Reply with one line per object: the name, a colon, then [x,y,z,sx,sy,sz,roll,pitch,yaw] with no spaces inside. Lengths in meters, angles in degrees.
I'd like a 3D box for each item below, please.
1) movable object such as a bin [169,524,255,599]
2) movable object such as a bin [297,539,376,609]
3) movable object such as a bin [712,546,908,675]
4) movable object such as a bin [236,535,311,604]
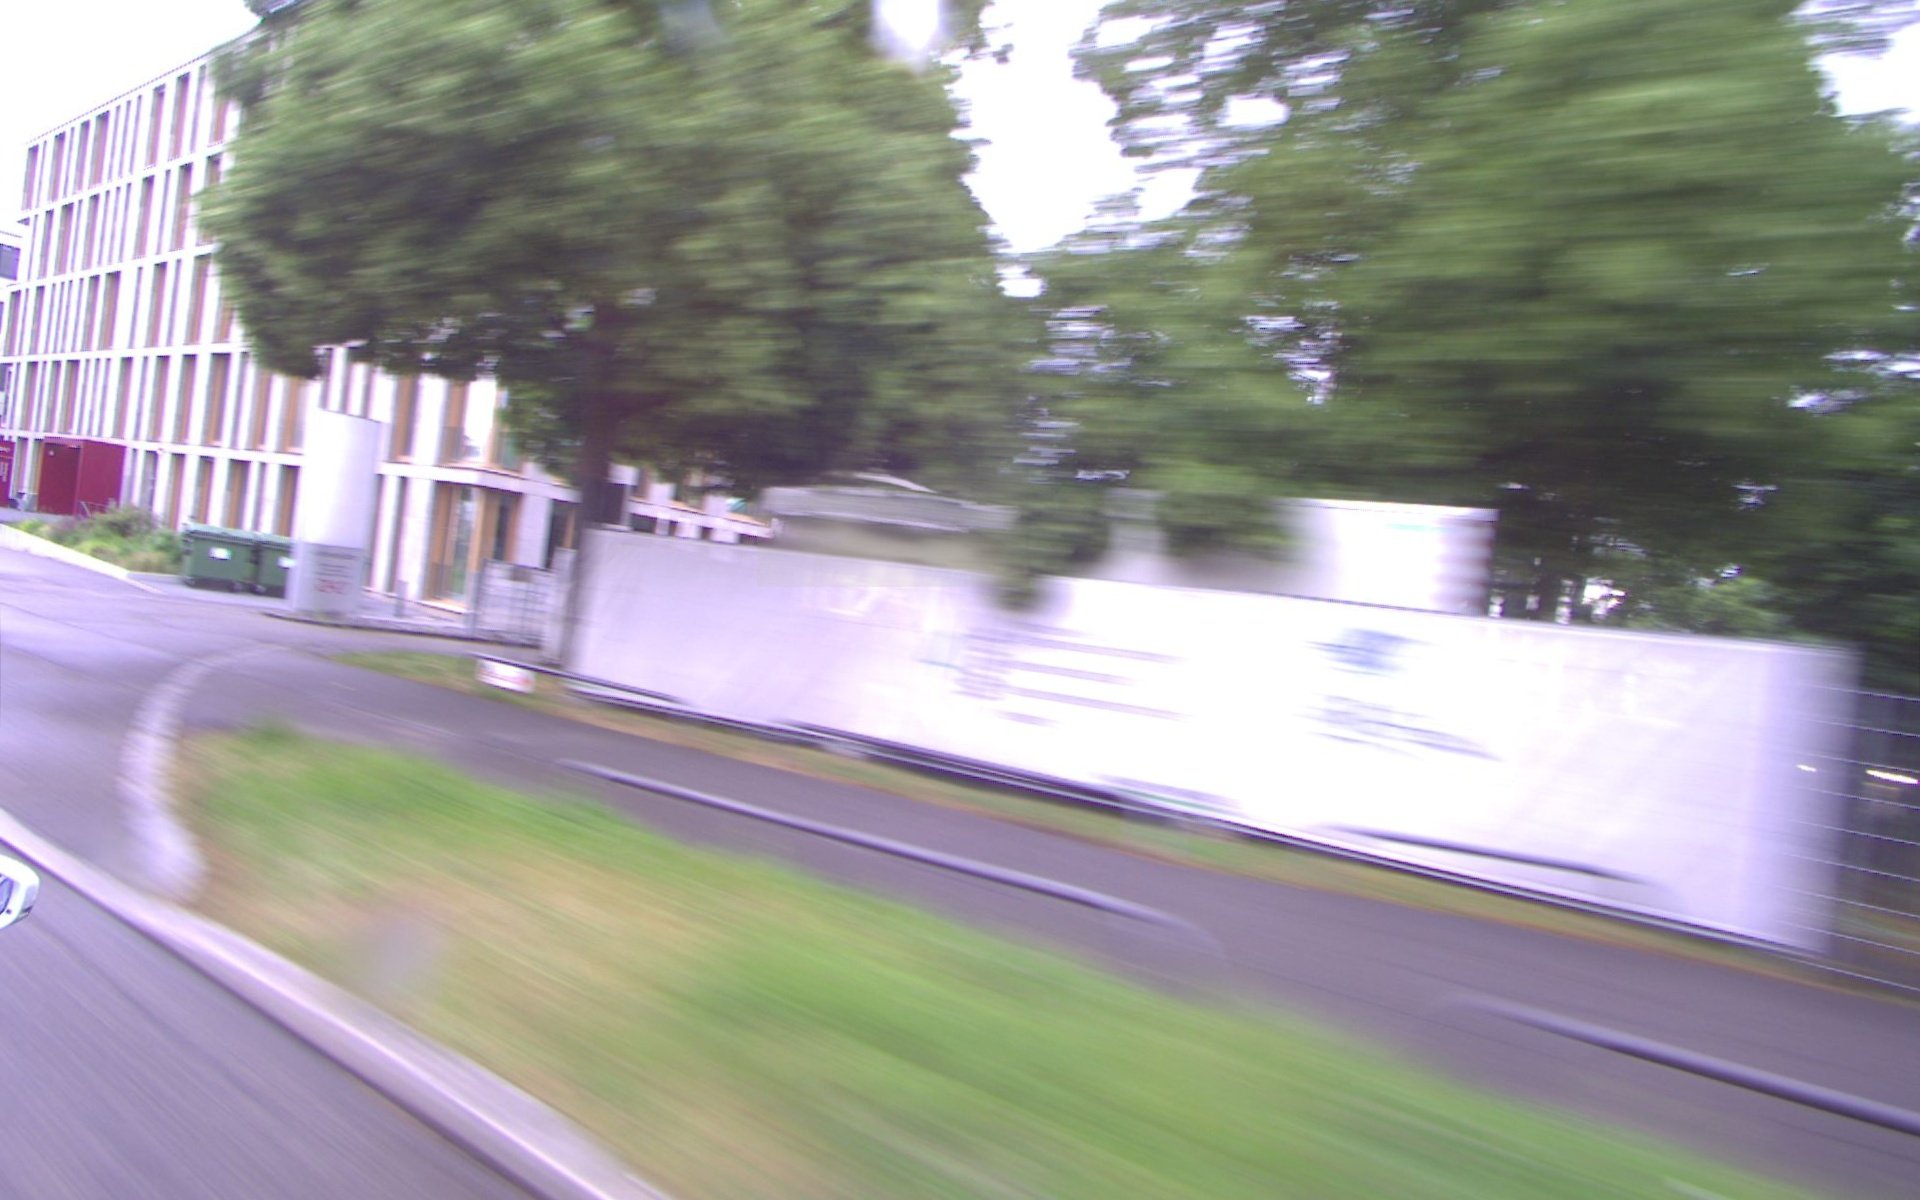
movable object such as a bin: [-17.292,-0.897,23.261,1.096,1.473,1.246,6,-5,44]
movable object such as a bin: [-15.641,-0.653,25.231,1.369,1.521,1.194,6,-2,42]
movable object such as a bin: [-4.801,0.480,33.494,2.586,3.486,6.364,6,-2,32]
movable object such as a bin: [-16.575,-0.739,24.297,1.135,1.414,1.097,6,-5,44]
